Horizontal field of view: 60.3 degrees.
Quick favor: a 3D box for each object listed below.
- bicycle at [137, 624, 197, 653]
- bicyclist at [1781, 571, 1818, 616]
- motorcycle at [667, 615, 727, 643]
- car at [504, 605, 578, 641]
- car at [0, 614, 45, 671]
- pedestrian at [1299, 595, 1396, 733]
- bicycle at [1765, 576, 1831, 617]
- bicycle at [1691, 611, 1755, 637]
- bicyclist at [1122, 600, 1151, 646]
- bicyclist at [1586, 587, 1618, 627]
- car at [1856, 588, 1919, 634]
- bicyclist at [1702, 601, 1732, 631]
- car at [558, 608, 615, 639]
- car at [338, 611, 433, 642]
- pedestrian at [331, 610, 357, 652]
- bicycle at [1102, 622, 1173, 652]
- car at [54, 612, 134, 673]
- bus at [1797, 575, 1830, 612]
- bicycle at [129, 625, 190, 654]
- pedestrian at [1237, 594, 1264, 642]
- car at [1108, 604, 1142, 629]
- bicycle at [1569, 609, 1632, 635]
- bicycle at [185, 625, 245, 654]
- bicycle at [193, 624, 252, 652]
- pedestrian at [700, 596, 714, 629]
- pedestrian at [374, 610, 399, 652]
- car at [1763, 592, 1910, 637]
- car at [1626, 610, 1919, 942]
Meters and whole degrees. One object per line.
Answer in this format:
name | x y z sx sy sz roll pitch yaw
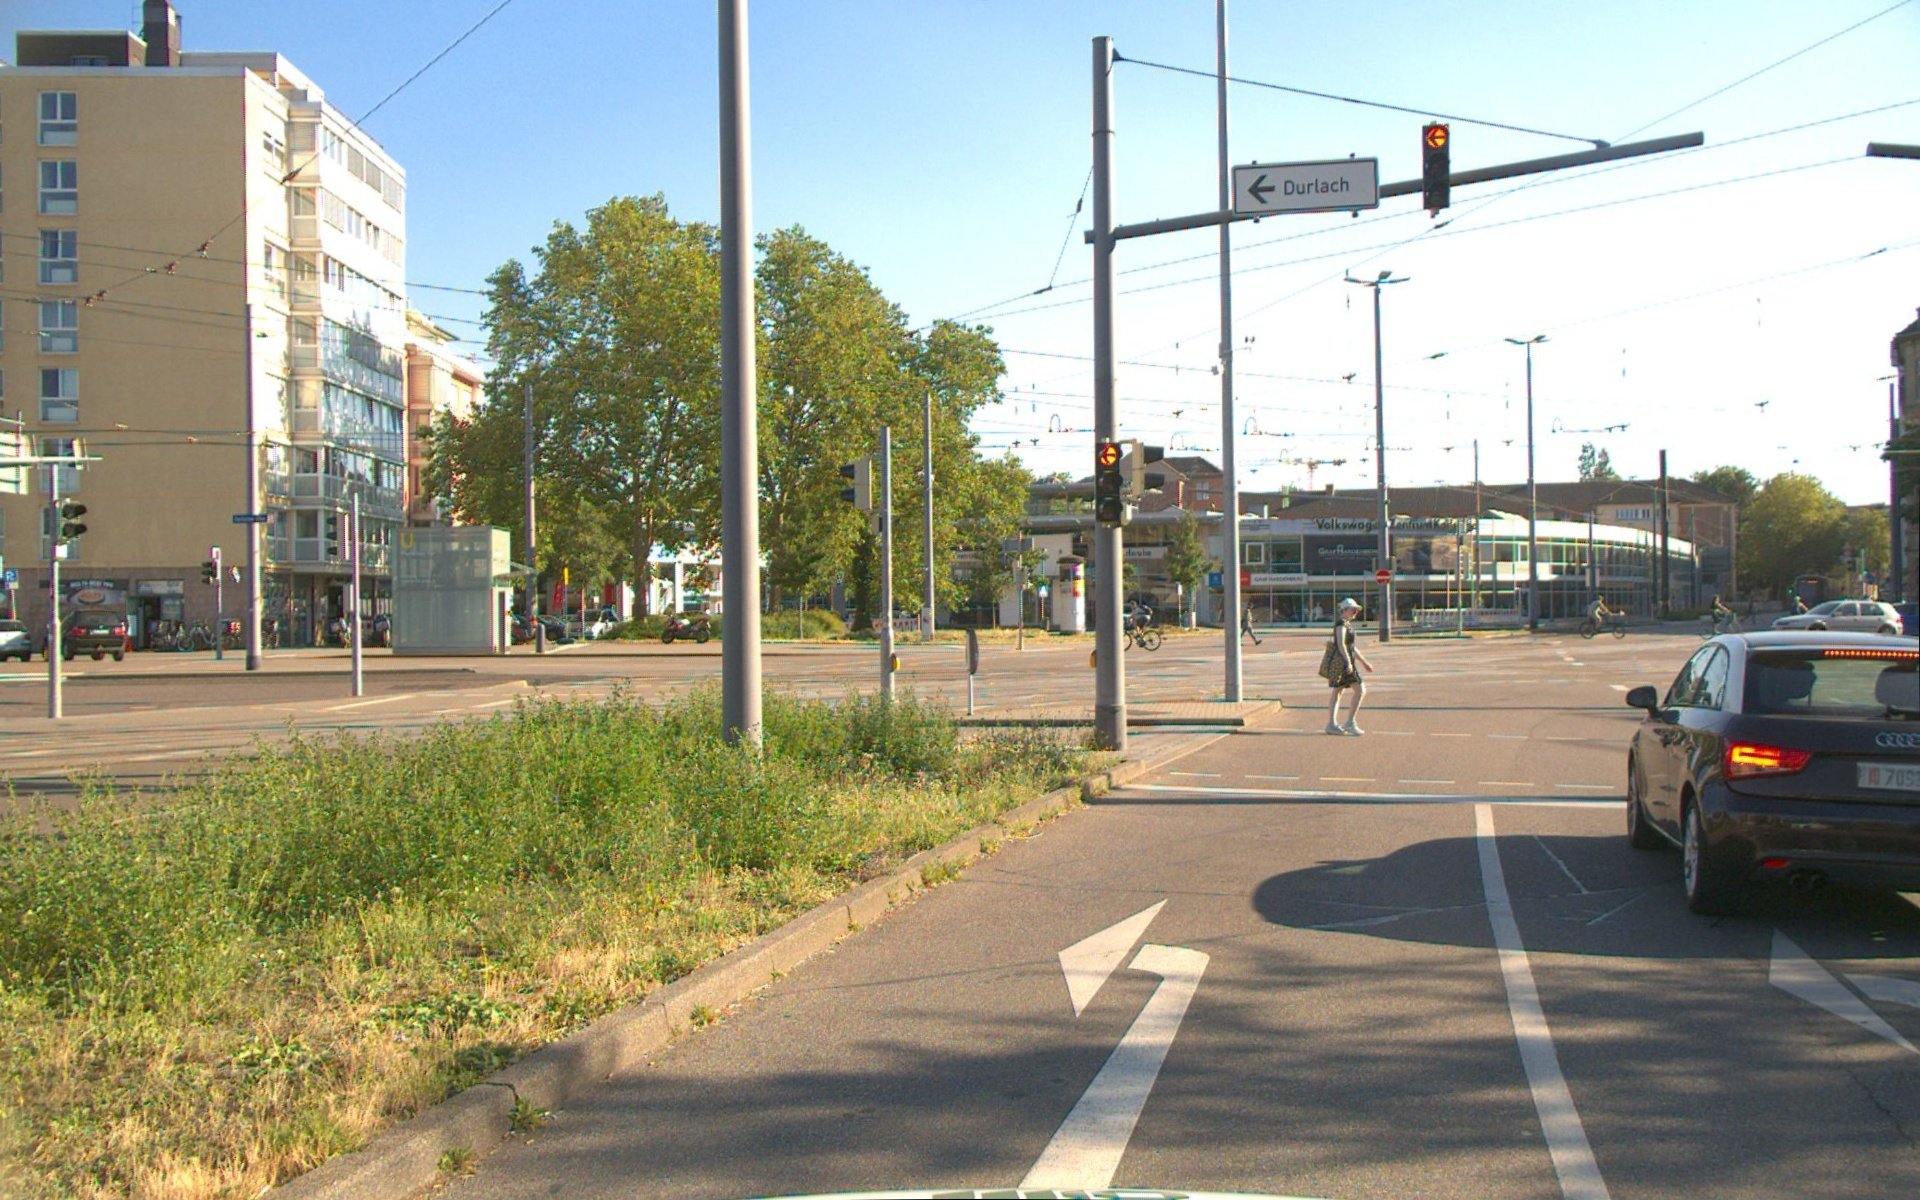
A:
bicycle | -31.719 1.527 66.189 2.001 1.109 0.777 -1 -1 -3
bicyclist | 36.629 -0.276 72.163 1.063 1.933 1.107 -1 2 -38
motorcycle | -10.491 1.151 66.047 2.236 1.072 0.688 0 1 3
car | -23.819 1.284 93.989 3.926 1.889 1.843 -1 1 -19
car | -33.169 1.451 57.037 1.826 1.778 3.935 -1 2 -44
pedestrian | 4.712 0.768 20.150 1.069 1.634 0.699 0 1 6
bicycle | 36.564 -0.174 72.153 3.963 1.719 1.122 -1 2 -40
bicycle | 30.192 0.948 65.460 2.256 0.976 0.858 0 1 -13
bicyclist | 6.176 0.793 57.837 0.904 1.587 0.963 -1 -1 1
bicyclist | 26.007 0.268 67.039 0.906 1.586 0.859 0 1 -6
car | 34.793 0.396 59.296 4.509 1.622 1.953 -1 -1 23
bicyclist | 29.924 0.630 65.389 0.700 1.163 0.835 0 1 -12
car | -18.199 1.123 80.738 1.809 1.477 4.000 0 0 1
car | -27.316 1.248 78.712 3.910 1.447 1.811 -1 -1 -6
pedestrian | -25.640 1.293 68.868 0.760 1.705 0.782 -1 -1 0
bicycle | 6.180 1.297 57.836 2.388 1.021 0.963 -1 -1 1
car | -30.087 1.425 57.421 1.833 1.889 3.947 -1 2 -37
bus | 72.428 -0.635 140.390 2.308 2.933 9.570 1 2 26
bicycle | -31.600 1.551 65.322 2.001 1.109 0.777 -1 -1 -3
pedestrian | 11.312 0.696 64.356 0.968 1.848 0.921 0 1 15
car | 11.201 1.121 112.006 1.951 1.561 4.004 0 2 11
bicycle | 25.957 0.884 67.063 2.251 0.996 0.859 0 1 -6
bicycle | -29.463 1.543 65.440 2.001 1.109 0.777 -1 -1 -3
bicycle | -29.547 1.520 66.285 2.001 1.109 0.777 -1 -1 -3
pedestrian | -15.809 0.806 103.424 0.576 2.049 0.711 -1 -1 16
pedestrian | -23.842 1.288 68.728 0.760 1.705 0.782 -1 -1 0
car | 29.750 0.488 56.213 4.015 1.477 1.951 -1 0 -6
car | 4.935 0.813 9.363 1.763 1.469 3.980 1 0 16
